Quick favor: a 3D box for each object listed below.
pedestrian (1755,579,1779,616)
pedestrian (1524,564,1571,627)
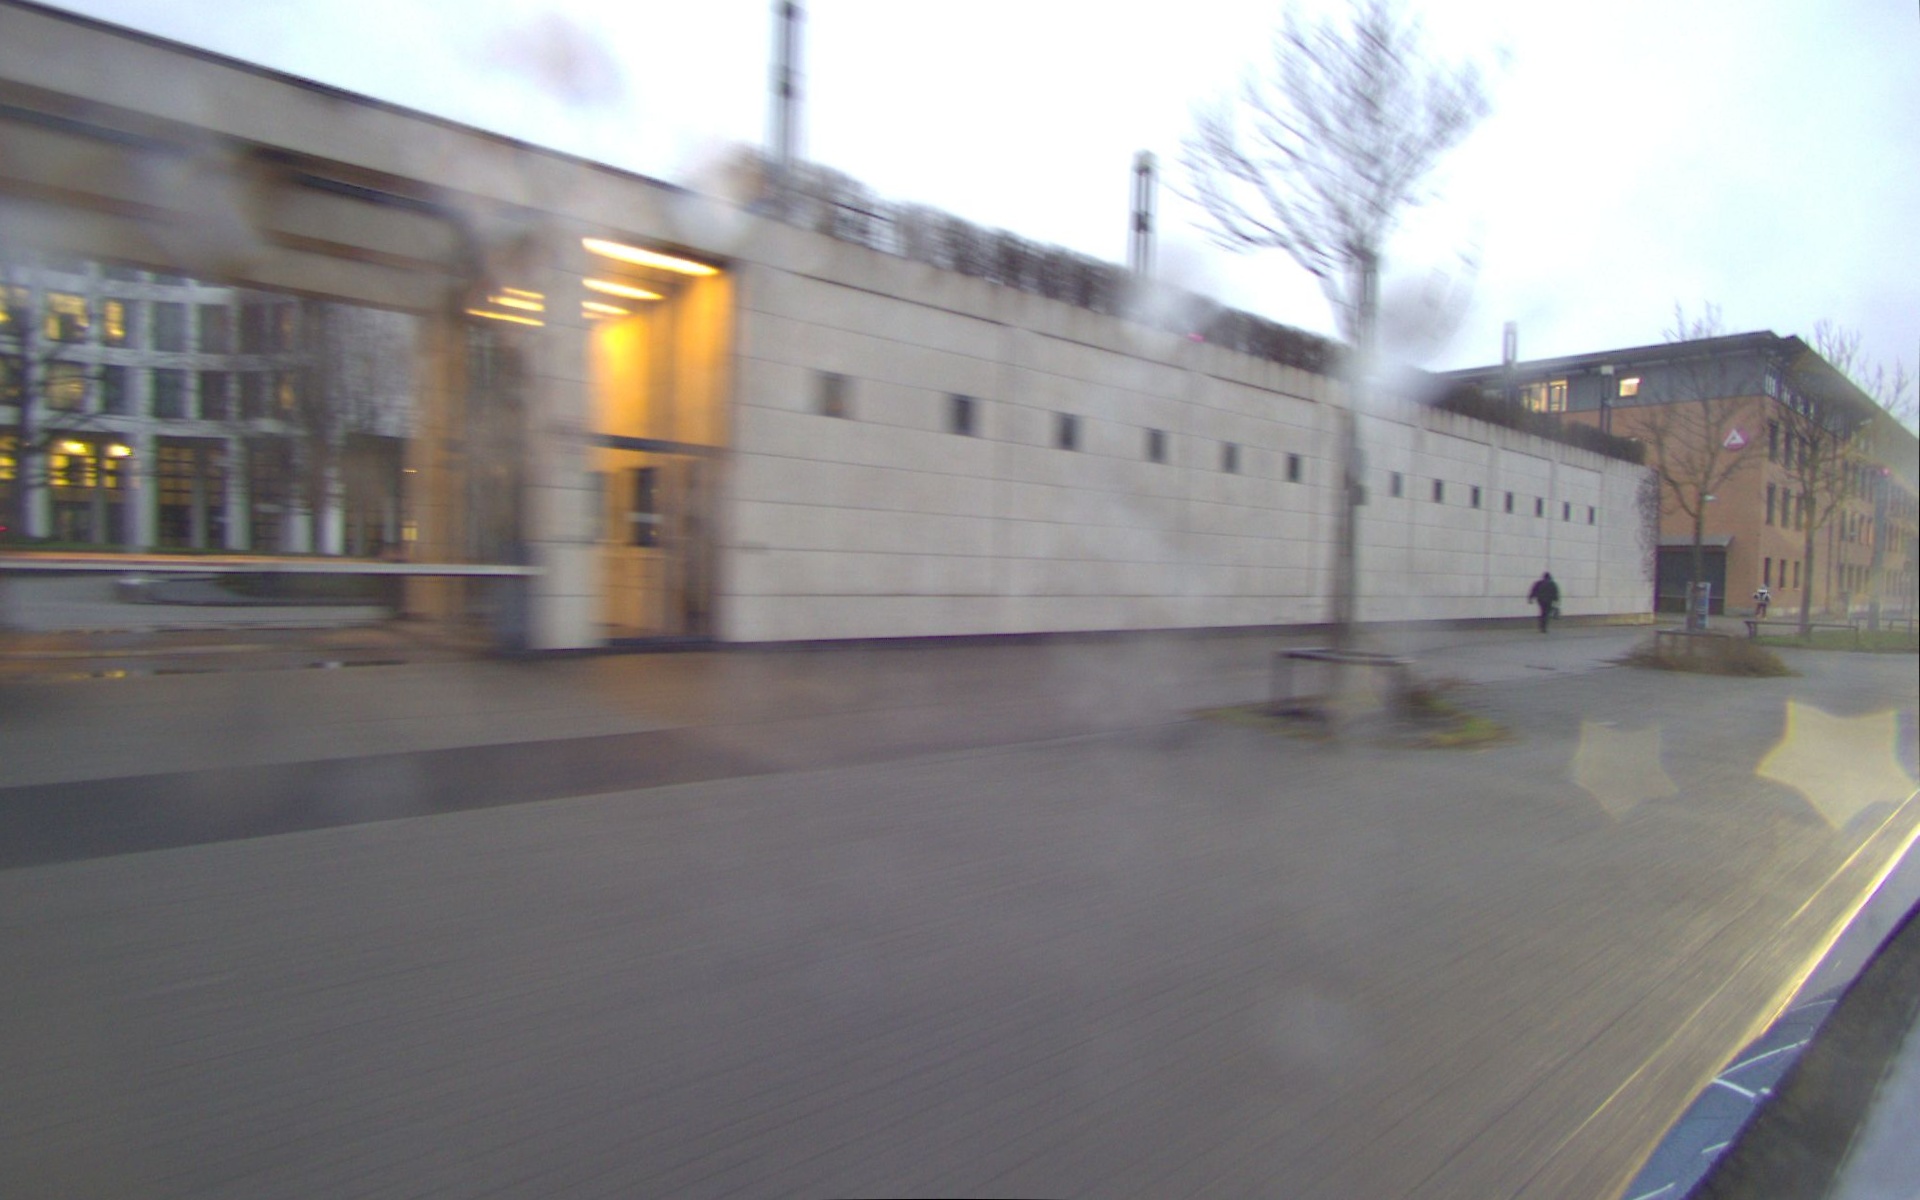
[{"bbox_3d":[37.730,-0.140,47.312,0.756,1.668,0.674,0,4,-41],"label":"pedestrian"},{"bbox_3d":[16.150,-0.133,27.818,0.868,1.650,0.814,0,4,-41],"label":"pedestrian"}]
